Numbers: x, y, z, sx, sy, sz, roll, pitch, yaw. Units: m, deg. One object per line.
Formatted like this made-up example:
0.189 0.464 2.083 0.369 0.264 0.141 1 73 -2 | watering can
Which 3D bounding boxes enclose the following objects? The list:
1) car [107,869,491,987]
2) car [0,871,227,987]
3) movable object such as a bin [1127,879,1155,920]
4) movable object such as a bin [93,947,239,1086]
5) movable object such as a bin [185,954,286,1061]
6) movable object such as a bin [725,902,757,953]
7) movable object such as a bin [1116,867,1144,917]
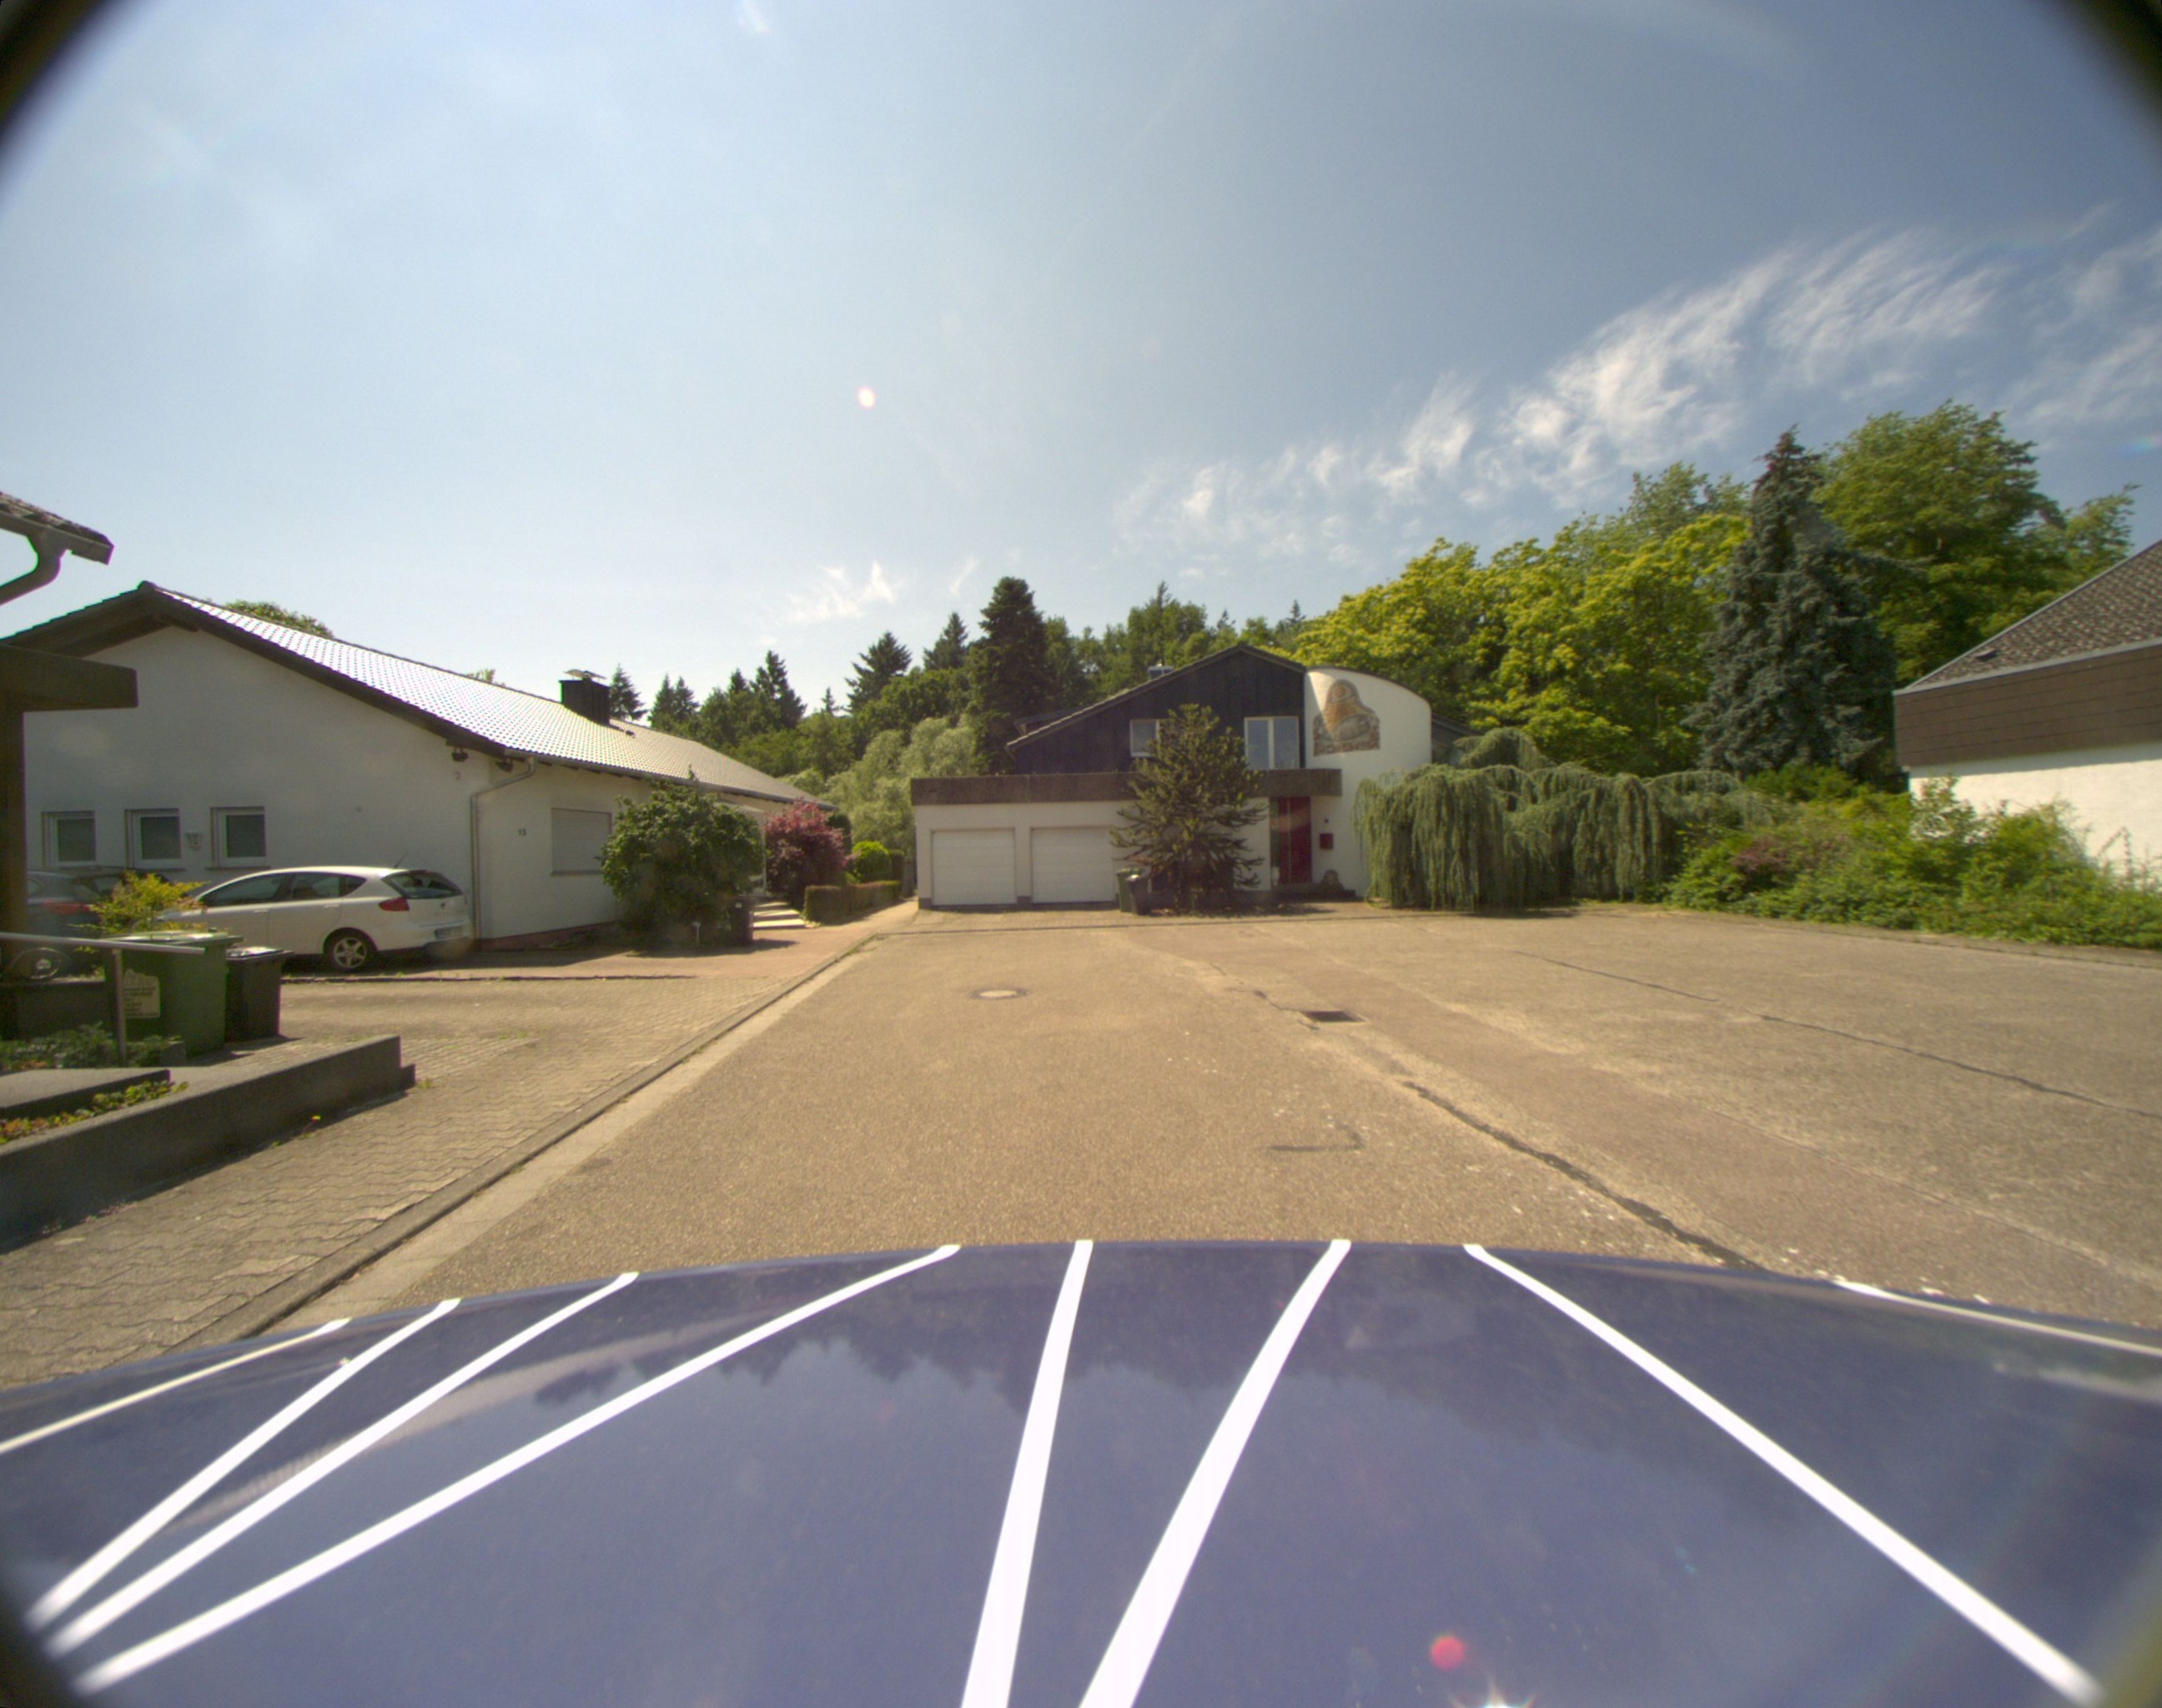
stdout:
-11.930 1.077 11.827 3.998 1.559 1.751 -1 1 -3 | car
-16.558 1.120 11.970 3.997 1.599 1.929 -1 1 1 | car
1.432 1.077 18.213 0.524 0.944 0.388 -2 1 -26 | movable object such as a bin
-7.814 1.366 6.513 0.491 1.035 0.592 -1 1 -7 | movable object such as a bin
-7.811 1.407 7.035 0.426 0.886 0.407 -1 2 -7 | movable object such as a bin
-6.238 1.349 13.958 0.390 0.886 0.375 -1 2 0 | movable object such as a bin
1.223 0.938 18.952 0.633 1.196 0.551 -1 1 1 | movable object such as a bin
